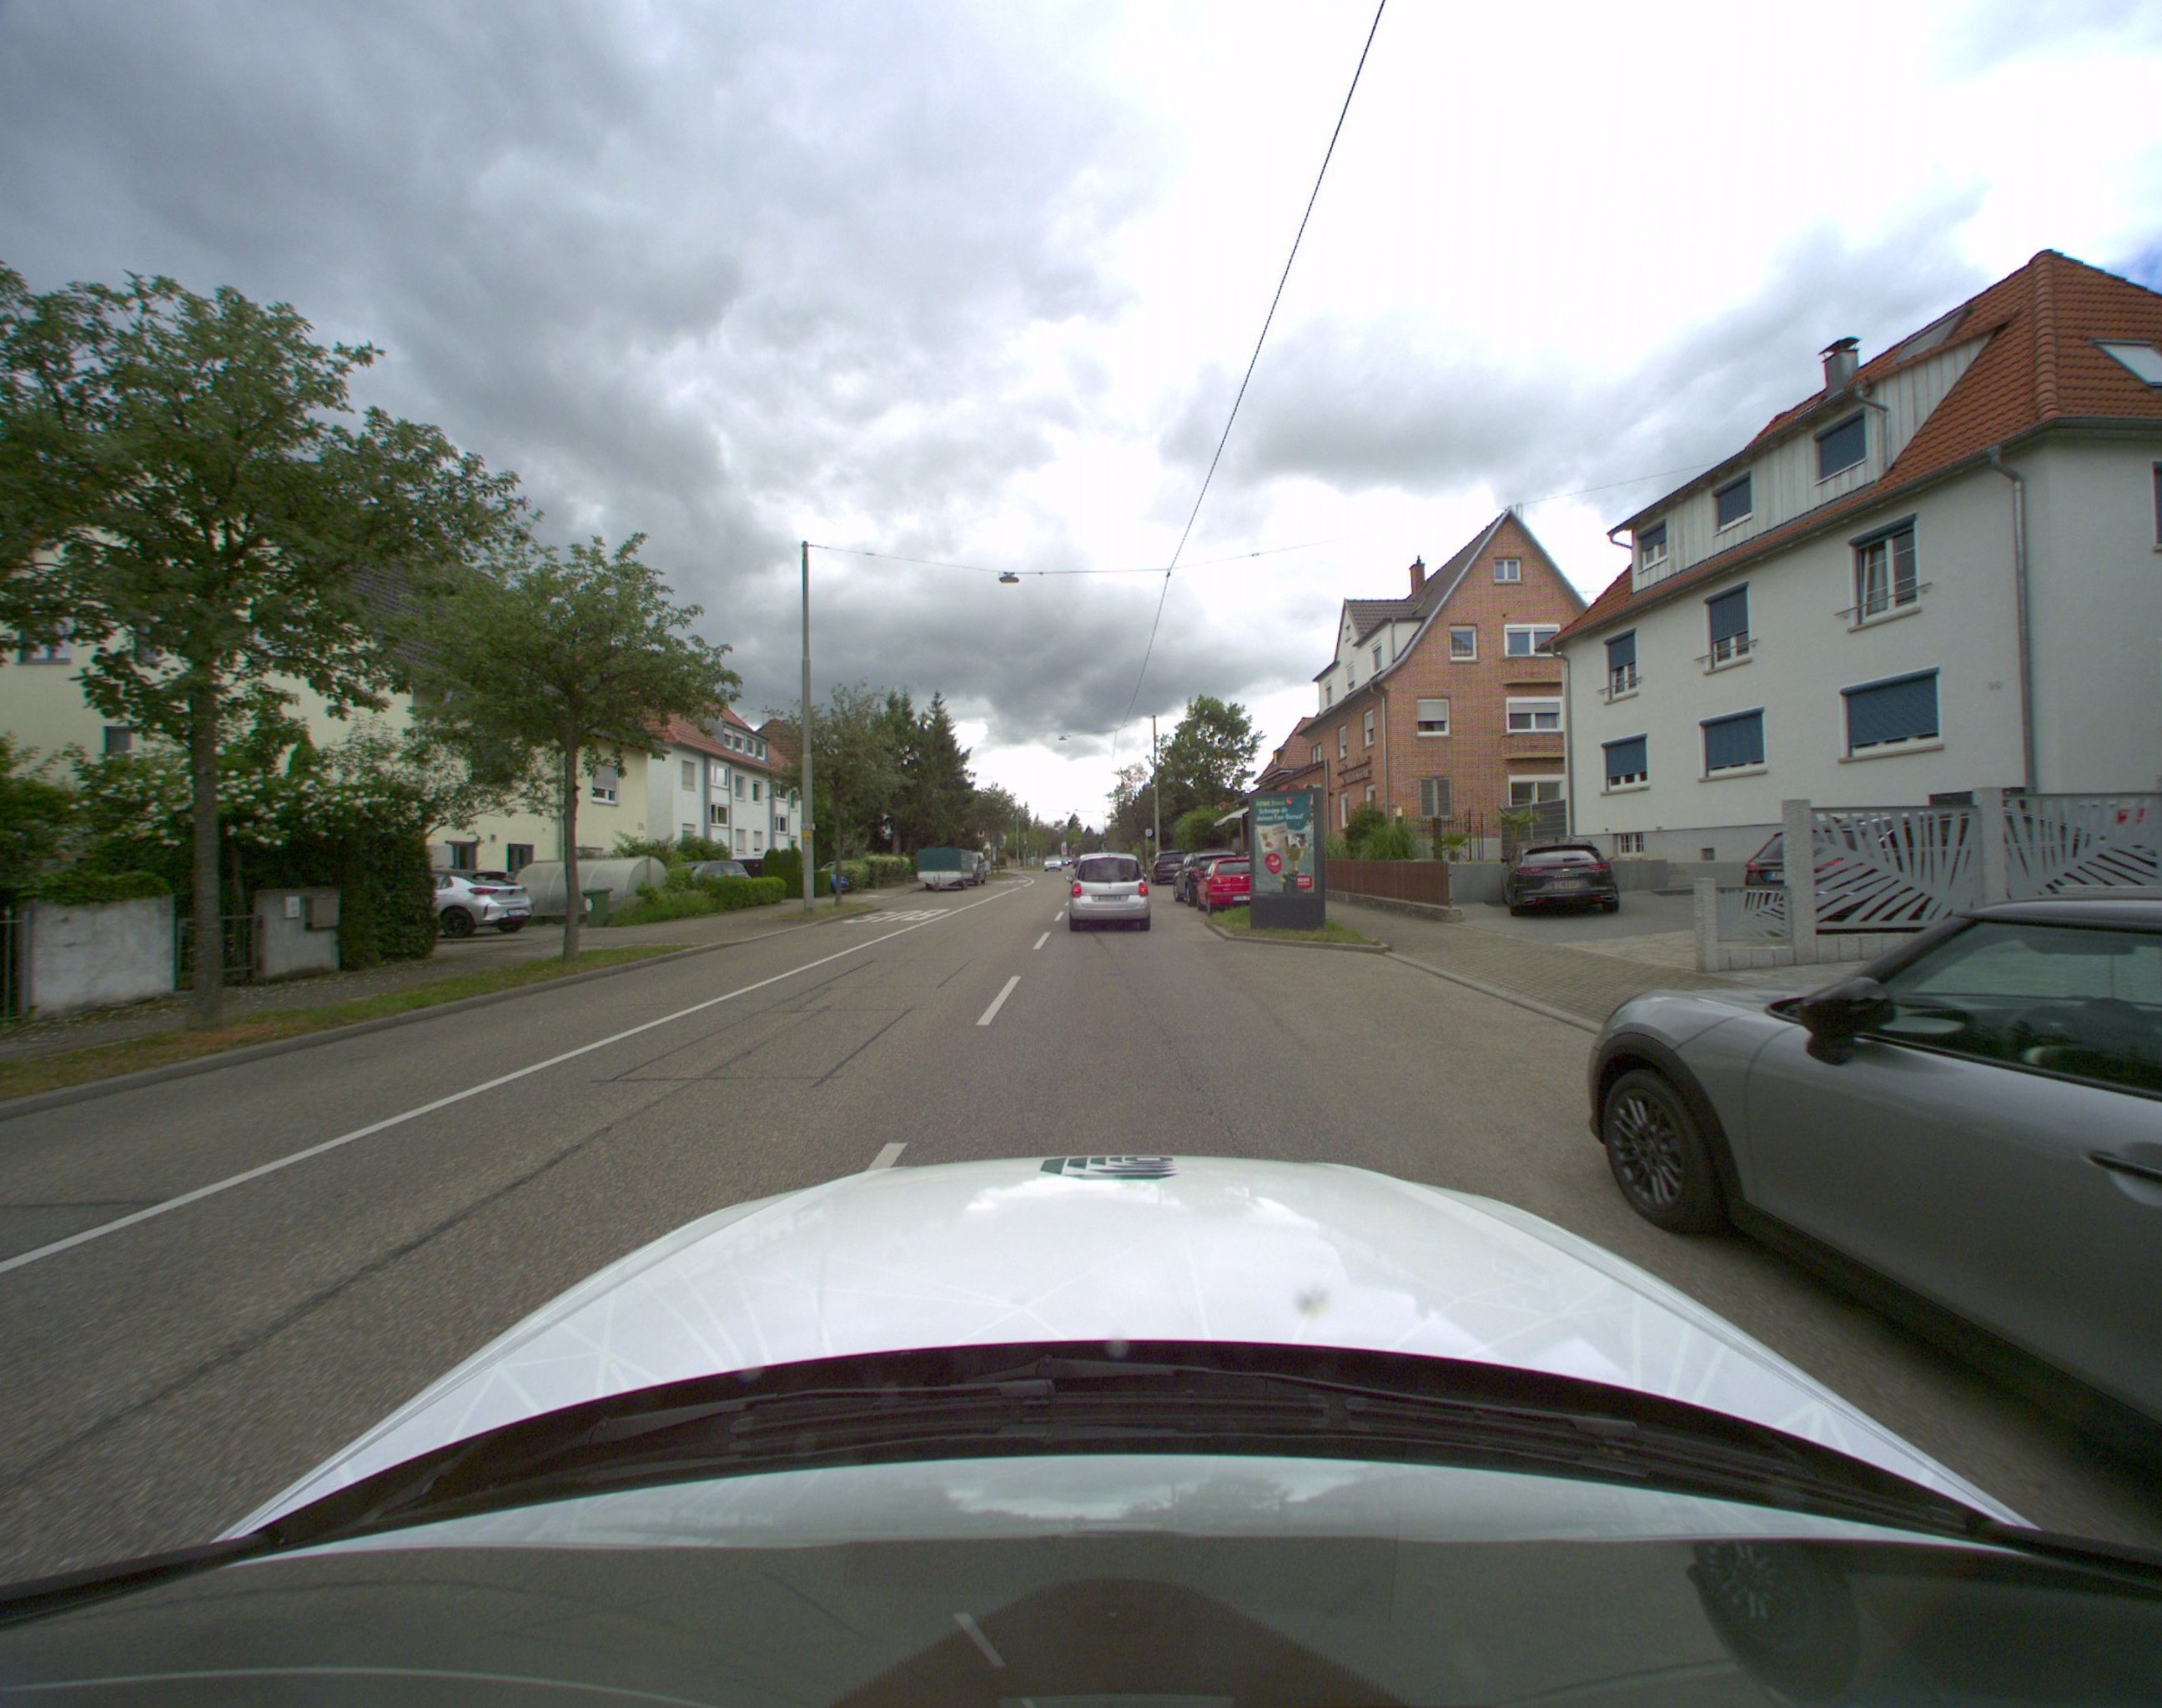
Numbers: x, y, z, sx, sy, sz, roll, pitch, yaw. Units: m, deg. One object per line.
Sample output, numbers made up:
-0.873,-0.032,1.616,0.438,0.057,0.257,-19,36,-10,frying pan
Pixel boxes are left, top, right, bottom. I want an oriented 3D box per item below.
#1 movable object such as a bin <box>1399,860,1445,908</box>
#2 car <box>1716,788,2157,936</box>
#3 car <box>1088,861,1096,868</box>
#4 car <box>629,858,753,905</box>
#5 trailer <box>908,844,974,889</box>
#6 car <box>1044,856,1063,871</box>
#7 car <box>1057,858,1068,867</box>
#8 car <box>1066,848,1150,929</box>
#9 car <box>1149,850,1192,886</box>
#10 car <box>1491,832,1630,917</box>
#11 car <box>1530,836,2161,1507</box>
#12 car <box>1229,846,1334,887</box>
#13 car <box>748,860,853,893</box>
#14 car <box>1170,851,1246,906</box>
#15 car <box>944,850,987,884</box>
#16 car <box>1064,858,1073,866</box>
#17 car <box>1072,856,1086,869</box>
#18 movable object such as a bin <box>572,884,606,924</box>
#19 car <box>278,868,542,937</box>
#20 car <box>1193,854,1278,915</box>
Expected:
8.000,0.698,19.136,0.773,1.104,0.691,-1,0,0,movable object such as a bin
11.039,0.104,10.668,4.255,1.506,1.691,-4,-2,-7,car
2.547,2.399,188.118,1.822,1.676,3.575,-1,-1,1,car
-12.511,0.877,26.438,1.869,1.417,4.004,0,-1,4,car
-6.970,0.669,41.189,2.305,2.087,5.871,1,-1,0,trailer
-2.995,1.048,88.517,1.902,1.618,3.994,0,-1,-4,car
-3.090,1.424,136.814,1.717,1.411,3.996,1,-1,-2,car
0.602,0.720,17.901,1.624,1.557,4.001,1,-1,2,car
4.632,0.729,42.446,1.806,1.743,3.999,-2,-2,0,car
9.382,0.359,16.291,1.802,1.381,4.505,-4,-1,24,car
3.068,0.666,2.167,1.644,1.382,4.001,0,-1,2,car
8.634,0.534,35.250,3.984,1.496,1.805,-4,-1,-8,car
-11.857,0.965,34.633,3.985,1.338,1.573,1,-2,-9,car
3.880,0.721,25.455,1.658,1.564,4.096,-1,0,-1,car
-6.833,0.789,48.567,1.882,1.922,4.560,1,-1,0,car
-2.385,1.436,153.652,1.717,1.411,3.996,1,-1,-2,car
-0.271,1.192,108.336,1.822,1.676,3.575,-1,-1,1,car
-11.490,1.165,19.011,0.571,0.902,0.549,-2,-2,45,movable object such as a bin
-14.156,0.992,17.377,4.056,1.286,1.754,-1,-1,-3,car
3.897,0.739,21.056,1.655,1.393,3.671,-2,0,3,car
